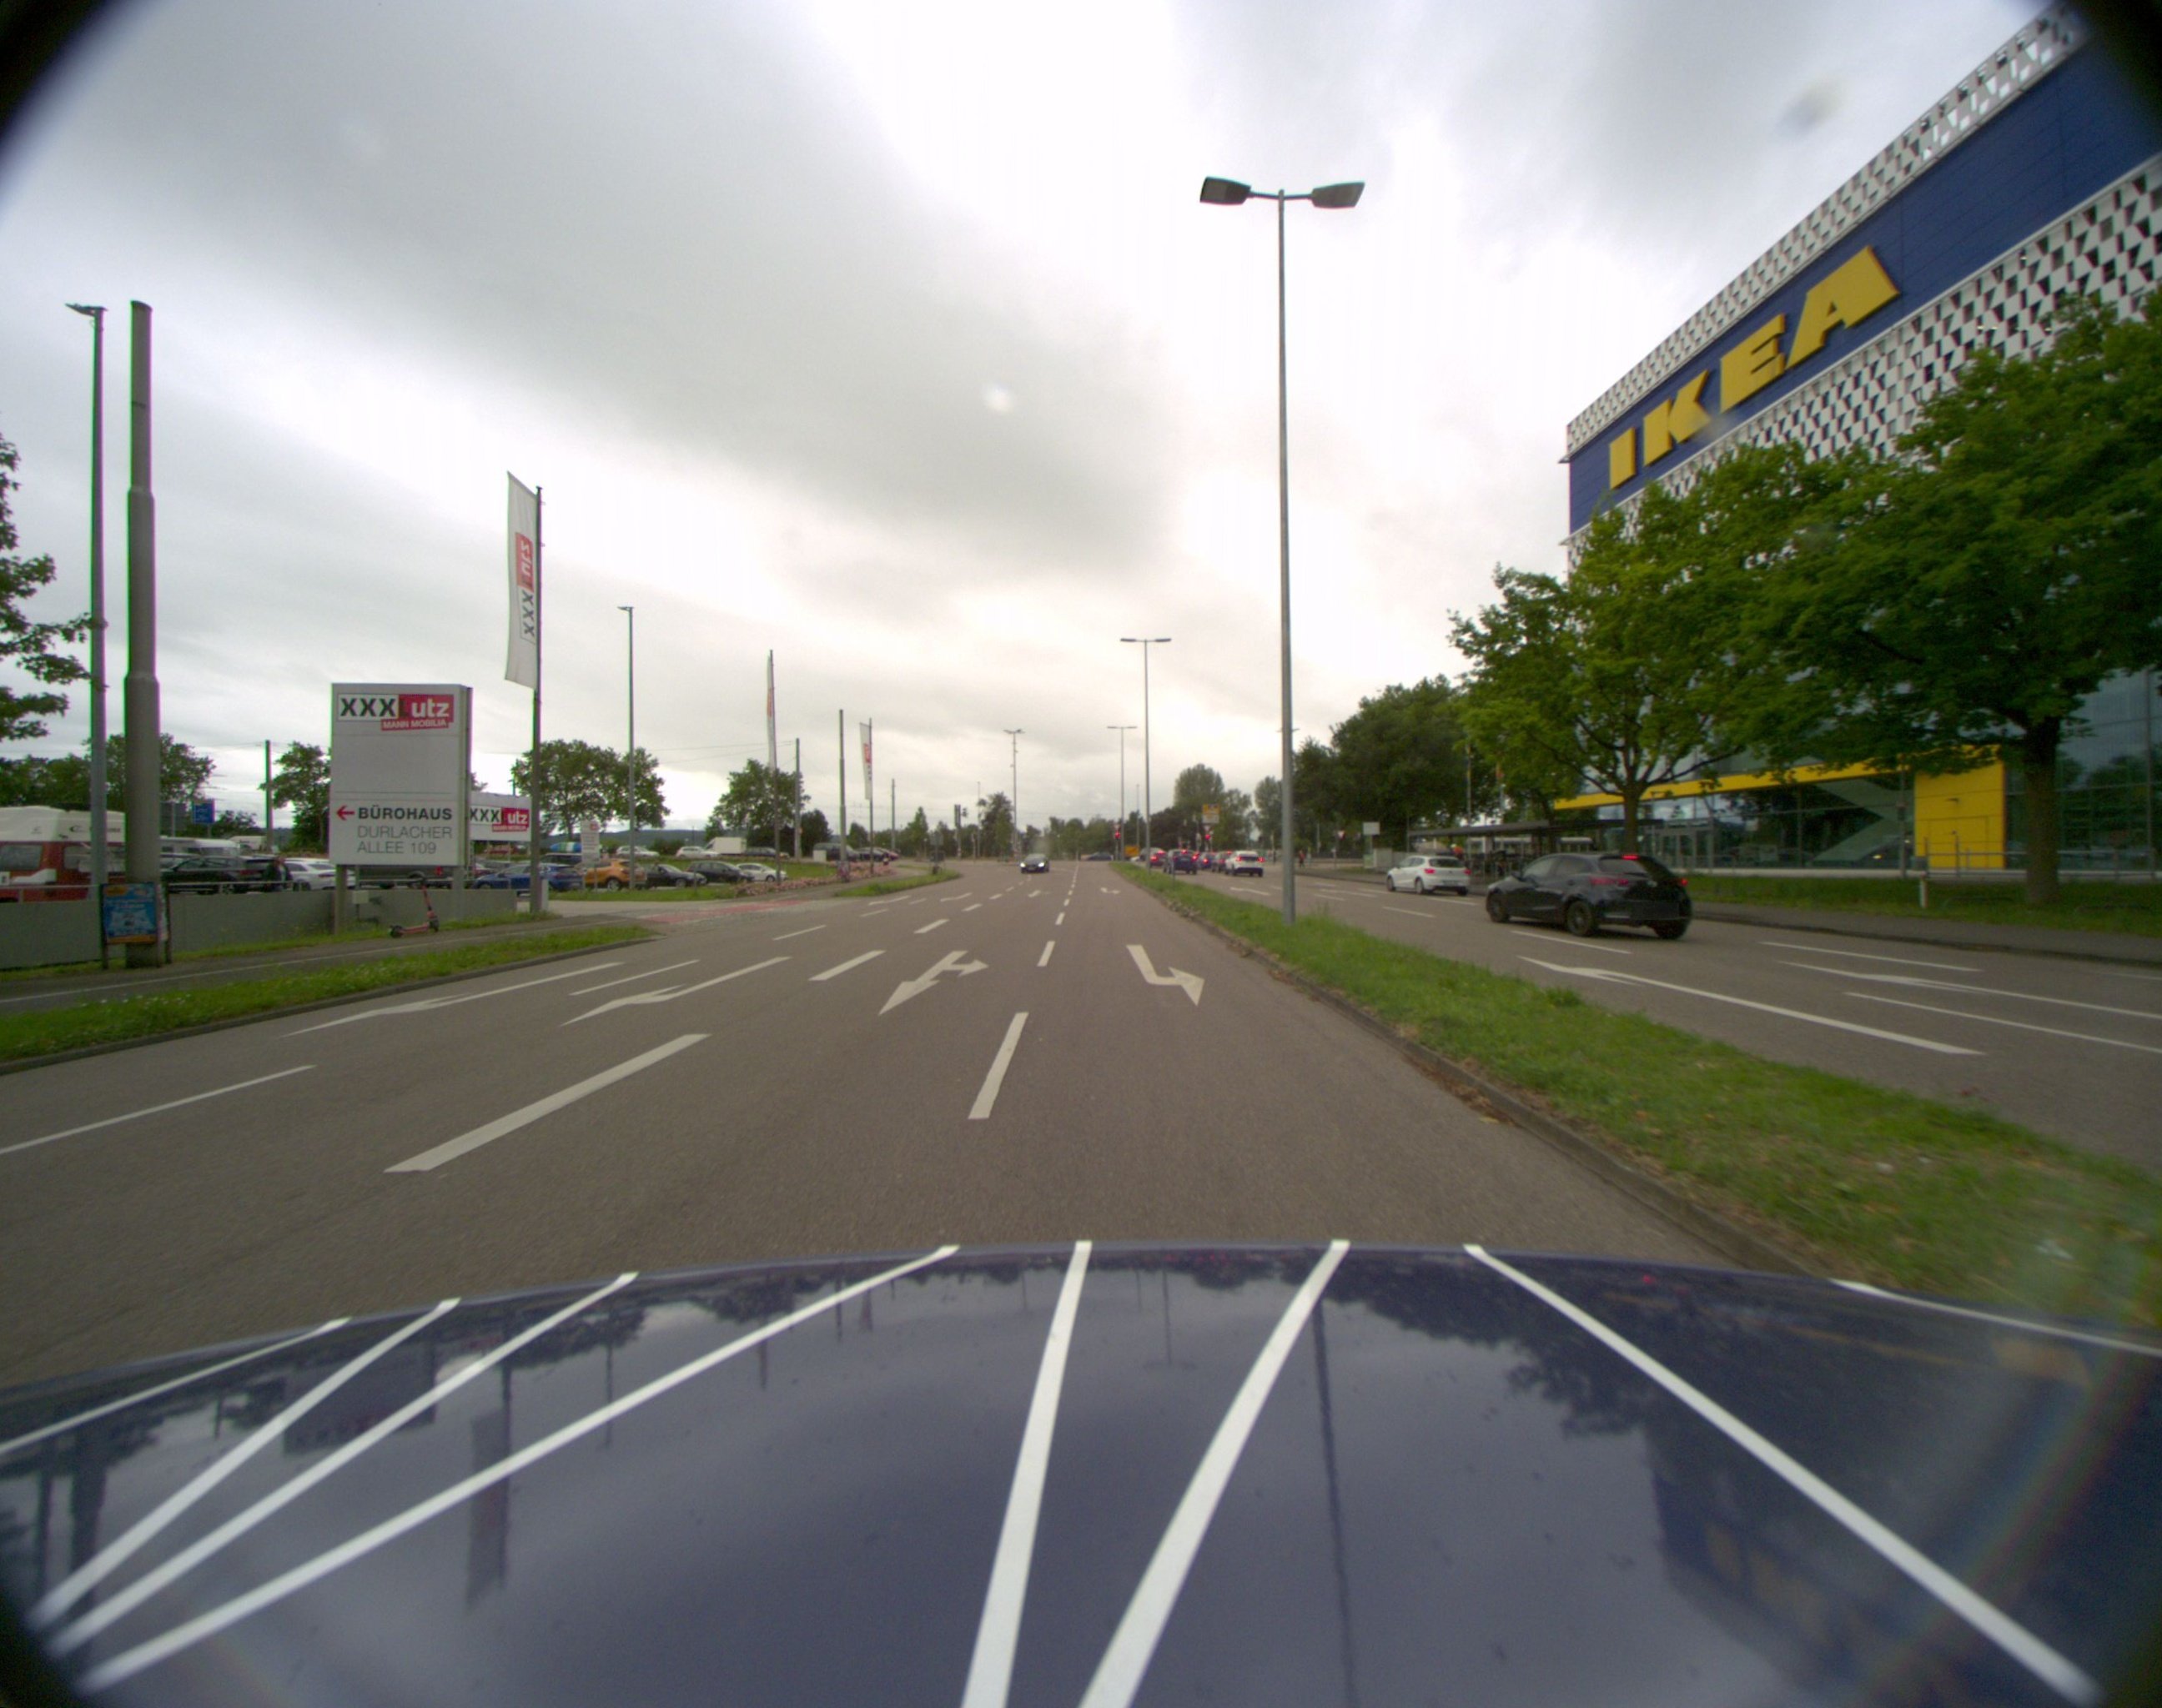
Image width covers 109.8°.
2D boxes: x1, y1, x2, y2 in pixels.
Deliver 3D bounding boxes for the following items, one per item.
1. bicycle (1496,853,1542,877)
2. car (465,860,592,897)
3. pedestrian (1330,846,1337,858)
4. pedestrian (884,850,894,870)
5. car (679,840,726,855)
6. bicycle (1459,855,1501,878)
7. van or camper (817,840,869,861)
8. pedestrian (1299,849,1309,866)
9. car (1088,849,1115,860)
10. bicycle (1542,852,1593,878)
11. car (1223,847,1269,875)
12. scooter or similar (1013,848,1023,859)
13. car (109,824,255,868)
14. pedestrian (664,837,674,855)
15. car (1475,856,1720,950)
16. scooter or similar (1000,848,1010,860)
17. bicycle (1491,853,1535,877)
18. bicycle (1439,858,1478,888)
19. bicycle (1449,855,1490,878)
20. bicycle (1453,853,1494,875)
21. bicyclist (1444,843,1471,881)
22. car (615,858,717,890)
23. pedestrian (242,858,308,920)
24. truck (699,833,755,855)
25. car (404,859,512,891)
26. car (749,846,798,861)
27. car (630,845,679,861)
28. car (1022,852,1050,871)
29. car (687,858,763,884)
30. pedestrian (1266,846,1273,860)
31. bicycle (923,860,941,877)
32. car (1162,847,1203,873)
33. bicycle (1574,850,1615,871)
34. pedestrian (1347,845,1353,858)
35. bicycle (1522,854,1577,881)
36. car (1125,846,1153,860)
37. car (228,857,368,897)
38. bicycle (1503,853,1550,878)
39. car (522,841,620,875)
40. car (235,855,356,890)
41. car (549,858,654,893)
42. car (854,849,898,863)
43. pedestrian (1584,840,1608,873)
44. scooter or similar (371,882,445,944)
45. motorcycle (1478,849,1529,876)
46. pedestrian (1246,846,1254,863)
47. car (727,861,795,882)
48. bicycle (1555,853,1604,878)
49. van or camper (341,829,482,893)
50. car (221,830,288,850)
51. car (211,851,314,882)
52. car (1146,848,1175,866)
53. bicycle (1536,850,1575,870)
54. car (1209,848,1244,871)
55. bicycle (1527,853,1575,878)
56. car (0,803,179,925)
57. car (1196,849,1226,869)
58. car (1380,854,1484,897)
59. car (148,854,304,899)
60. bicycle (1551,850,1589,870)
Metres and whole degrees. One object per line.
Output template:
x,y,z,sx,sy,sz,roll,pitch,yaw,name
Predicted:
23.169,0.588,40.189,2.020,1.150,0.593,-3,1,1,bicycle
-23.233,1.023,32.044,3.996,1.447,1.814,-1,1,2,car
34.421,-0.248,103.577,0.632,1.550,0.711,-1,-1,2,pedestrian
-15.696,0.477,62.247,0.717,1.589,0.782,-1,3,-18,pedestrian
-39.659,-0.640,79.658,4.043,1.529,1.734,0,-1,0,car
21.162,0.673,40.317,1.898,1.150,0.593,-3,1,1,bicycle
-24.334,-0.353,77.728,4.743,2.003,2.126,1,3,16,van or camper
21.343,0.321,72.707,0.635,1.633,0.809,-1,3,-2,pedestrian
2.919,0.095,108.576,3.824,1.503,1.724,-1,-1,0,car
23.408,0.545,36.555,2.020,1.150,0.593,-3,1,1,bicycle
10.044,0.391,46.581,1.936,1.510,4.181,0,2,1,car
-6.860,-0.075,82.929,1.016,1.249,0.465,1,2,14,scooter or similar
-64.801,-0.555,54.897,6.947,2.971,2.769,-1,-1,-3,car
-39.950,-0.769,73.692,0.545,1.771,0.636,-2,-1,33,pedestrian
9.265,0.787,14.095,1.762,1.445,3.999,1,1,-1,car
-8.262,-0.021,82.686,1.113,1.249,0.321,1,3,14,scooter or similar
23.247,0.585,40.897,2.020,1.150,0.593,-3,1,1,bicycle
16.292,0.797,32.837,0.644,1.243,2.056,-2,0,0,bicycle
21.142,0.663,41.398,1.898,1.150,0.593,-3,1,1,bicycle
23.060,0.588,44.682,2.018,1.150,0.594,-2,1,17,bicycle
16.256,0.346,32.813,0.642,1.568,1.000,-2,1,0,bicyclist
-22.781,1.070,41.864,4.542,1.574,1.767,-1,2,-12,car
-23.127,0.997,21.826,0.942,1.709,0.886,-1,-1,-1,pedestrian
-49.731,-1.338,106.825,6.542,2.905,2.828,0,-1,-5,truck
-32.697,1.069,39.962,3.996,1.559,2.000,-1,1,1,car
-32.145,-0.073,79.479,4.316,1.455,1.970,1,0,6,car
-44.823,-0.090,79.900,4.073,1.592,1.747,-1,-1,-2,car
-3.463,0.546,59.298,1.999,1.383,4.342,-1,1,-1,car
-23.186,1.092,49.549,4.103,1.574,1.769,-1,-1,-3,car
21.951,-0.128,88.282,0.675,1.702,0.766,0,1,4,pedestrian
-9.812,0.936,50.194,0.664,1.042,1.692,-1,1,7,bicycle
6.394,0.354,48.280,1.936,1.477,4.438,1,1,0,car
29.430,0.366,43.537,2.021,1.150,0.593,-2,1,-6,bicycle
36.753,-0.313,103.708,0.586,1.731,0.788,-1,-1,3,pedestrian
21.557,0.612,34.995,2.018,1.150,0.594,-2,1,15,bicycle
8.719,-0.106,114.553,3.998,2.002,1.947,-1,1,-3,car
-33.006,0.955,32.122,3.996,1.543,1.863,-1,1,2,car
22.851,0.586,38.969,2.020,1.150,0.593,-3,1,1,bicycle
-33.238,0.238,49.608,5.045,2.153,2.123,0,1,6,car
-38.374,0.882,37.174,3.996,1.547,1.855,-1,1,2,car
-23.270,1.036,36.975,3.995,1.634,1.816,0,1,5,car
-22.232,0.219,82.554,4.200,1.455,1.839,-1,1,13,car
27.126,0.139,40.045,0.679,1.735,0.808,-1,0,0,pedestrian
-13.703,1.180,15.496,0.371,1.184,1.248,0,0,1,scooter or similar
23.413,0.468,42.095,2.500,1.347,0.799,-3,1,-12,motorcycle
18.882,0.058,84.864,0.664,1.756,0.686,2,4,-2,pedestrian
-23.138,1.290,55.030,4.117,1.437,1.876,-1,-1,0,car
23.098,0.529,35.217,1.814,1.076,0.593,-3,1,1,bicycle
-32.444,0.326,36.899,5.390,2.967,1.992,0,1,7,van or camper
-112.958,-1.857,103.868,5.897,2.610,2.664,0,-1,-5,car
-48.319,0.743,44.926,4.219,1.770,1.865,0,0,3,car
6.727,0.221,64.745,1.888,1.428,4.430,1,1,-1,car
29.423,0.351,47.092,2.021,1.150,0.593,-2,1,-1,bicycle
10.130,0.340,53.191,1.606,1.489,4.036,1,1,0,car
23.408,0.566,37.857,2.020,1.150,0.593,-3,1,1,bicycle
-23.997,0.271,17.184,4.734,2.563,2.171,-1,-1,2,car
10.077,0.361,59.302,1.606,1.436,4.143,1,0,0,car
13.033,0.748,28.532,1.871,1.446,4.167,1,1,-1,car
-33.102,0.859,29.498,3.901,1.644,1.831,1,0,-1,car
29.348,0.352,45.597,2.023,1.150,0.593,-2,1,-12,bicycle
